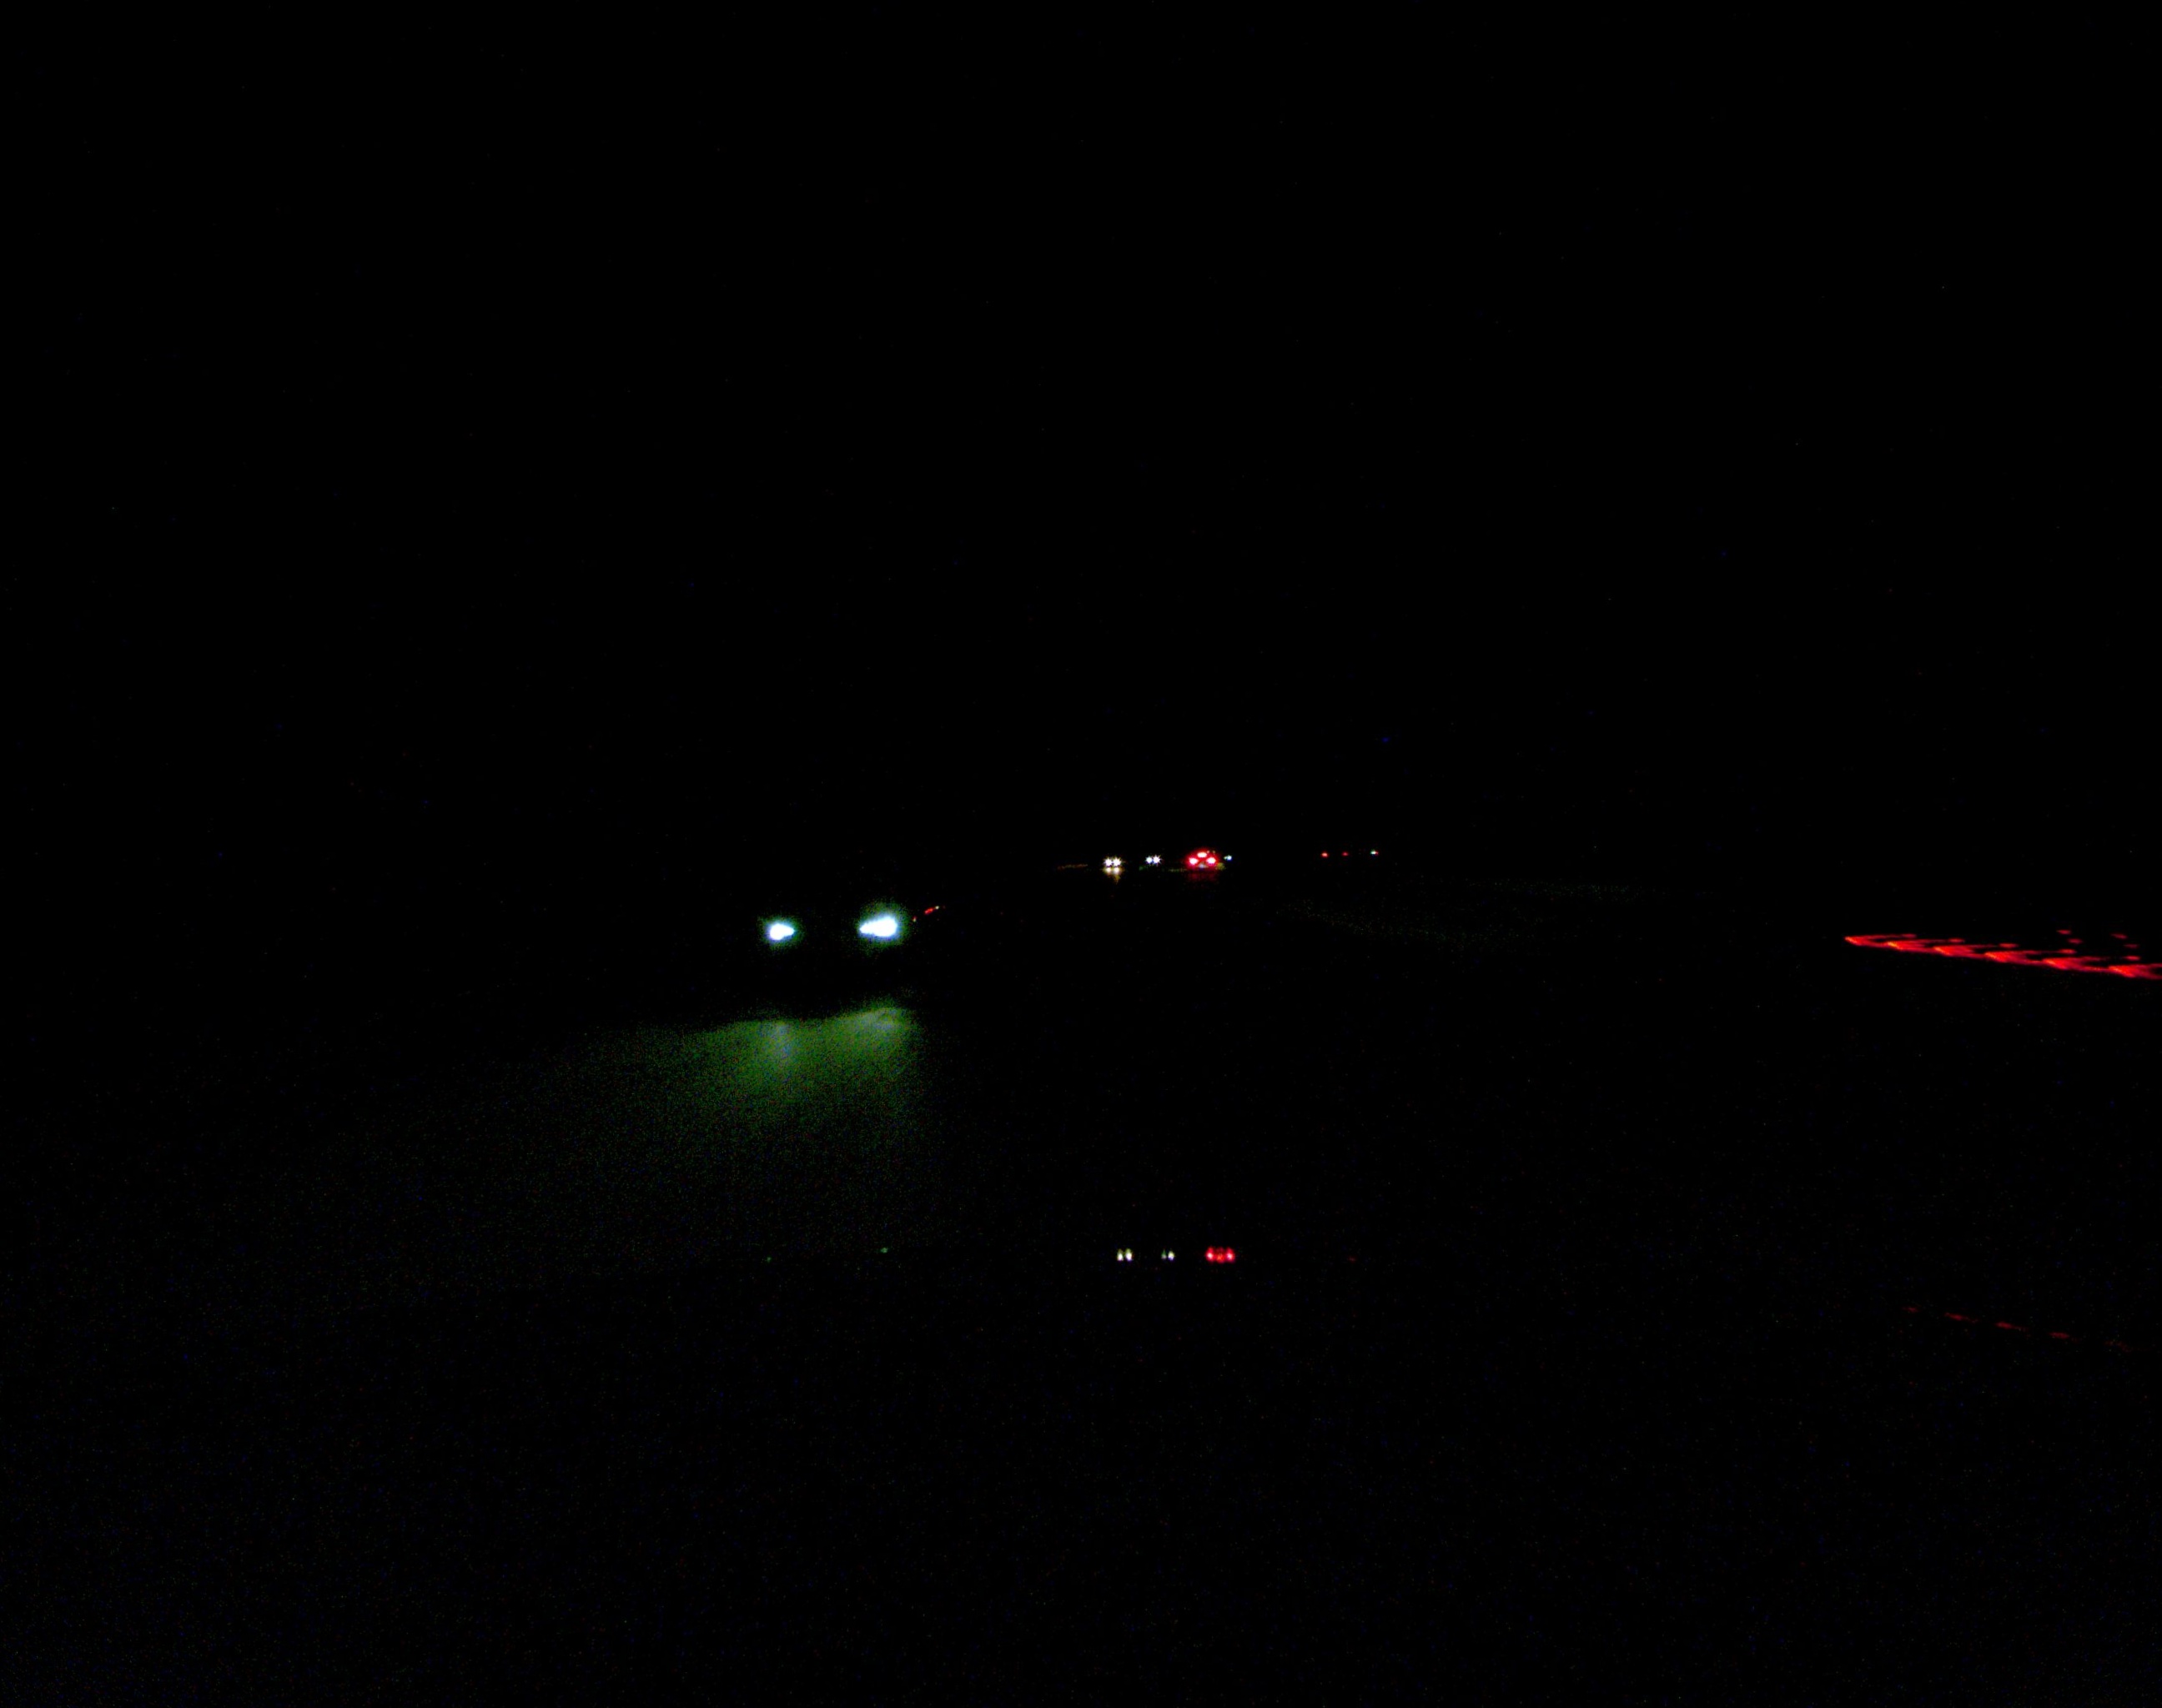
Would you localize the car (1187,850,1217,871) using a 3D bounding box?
[{"bbox_3d":[9.100,0.470,57.502,1.716,1.435,4.487,-2,1,3],"label":"car"}]

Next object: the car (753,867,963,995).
[{"bbox_3d":[-3.182,1.010,11.988,1.812,1.418,4.873,-1,1,0],"label":"car"}]

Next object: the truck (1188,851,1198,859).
[{"bbox_3d":[21.393,0.135,145.046,1.686,1.461,4.155,-2,1,9],"label":"truck"}]

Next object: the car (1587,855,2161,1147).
[{"bbox_3d":[6.146,0.725,5.848,1.721,1.372,4.243,-2,0,1],"label":"car"}]

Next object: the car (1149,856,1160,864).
[{"bbox_3d":[15.358,1.236,158.663,1.811,1.508,3.939,0,-1,12],"label":"car"}]

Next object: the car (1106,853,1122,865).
[{"bbox_3d":[4.572,0.670,104.676,1.811,1.509,3.937,0,1,7],"label":"car"}]

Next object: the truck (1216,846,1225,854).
[{"bbox_3d":[46.543,-1.338,253.779,2.424,2.410,7.099,0,0,15],"label":"truck"}]
